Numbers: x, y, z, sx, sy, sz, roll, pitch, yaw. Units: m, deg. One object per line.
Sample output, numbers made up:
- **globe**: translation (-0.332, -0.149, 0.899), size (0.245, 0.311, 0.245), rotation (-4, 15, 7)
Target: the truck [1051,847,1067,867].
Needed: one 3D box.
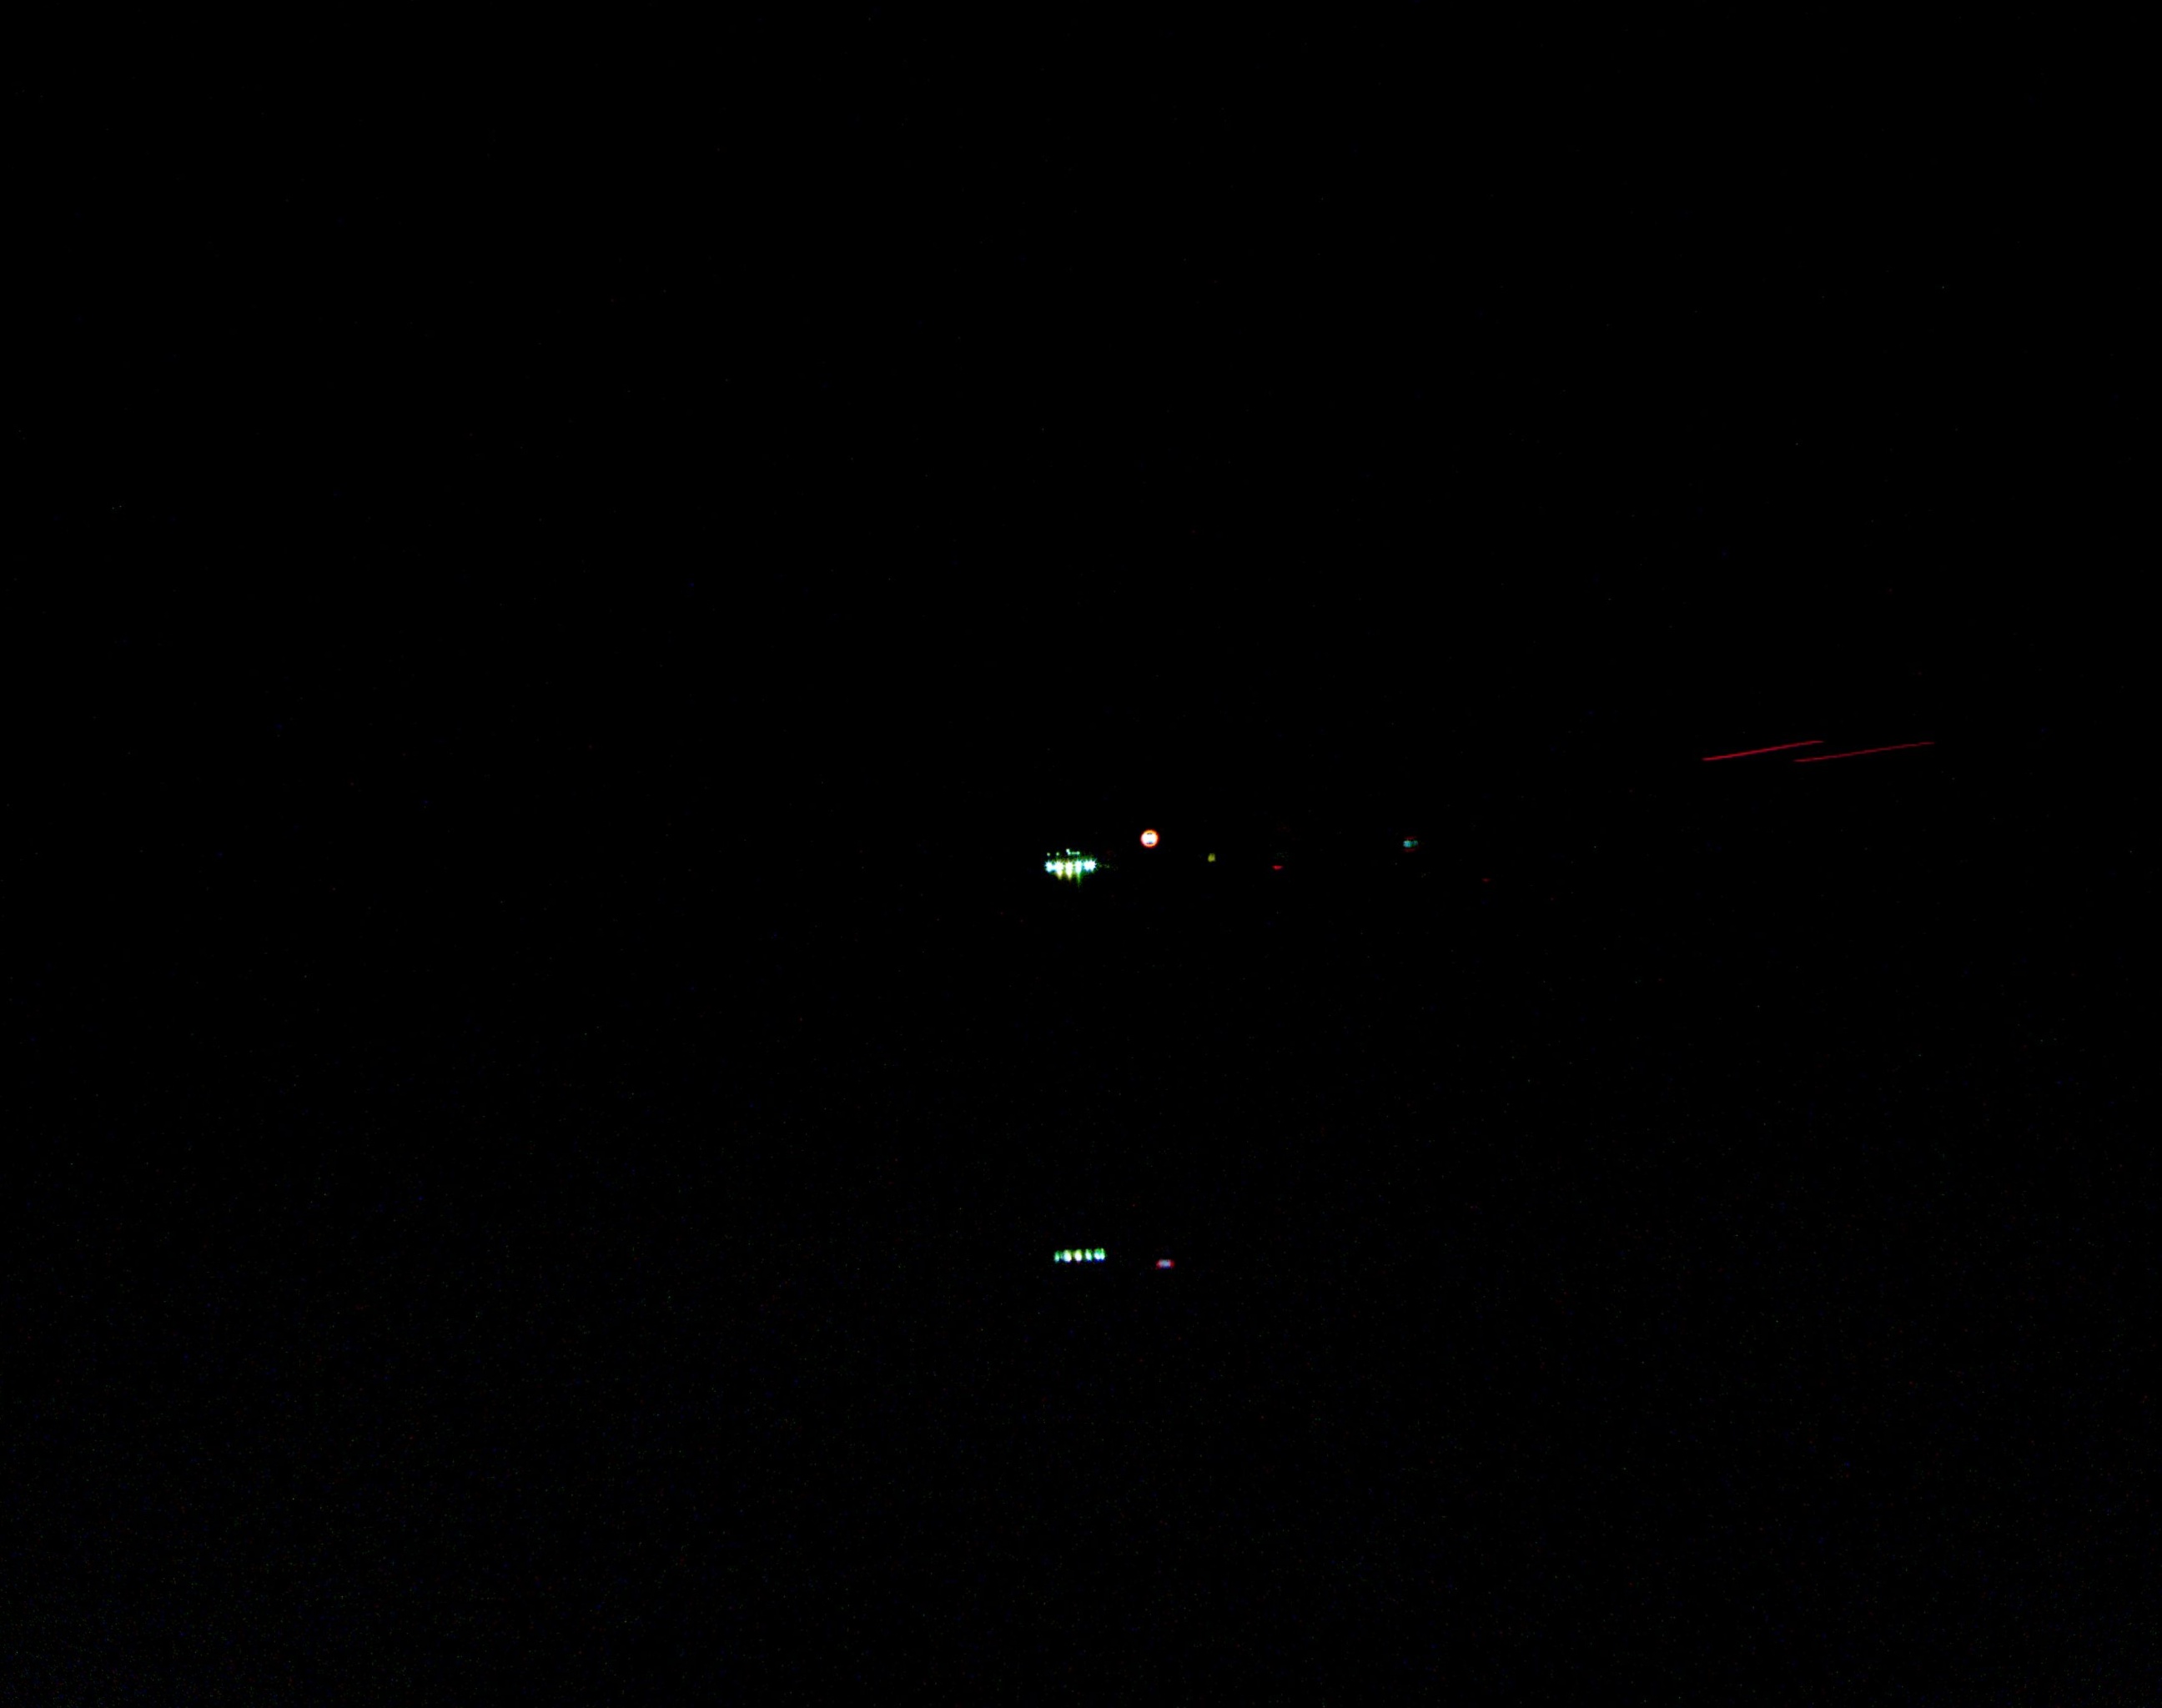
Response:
- **truck**: translation (-4.783, 0.756, 165.682), size (2.597, 4.047, 7.676), rotation (-3, -1, 2)

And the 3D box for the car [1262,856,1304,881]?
- **car**: translation (15.473, 1.131, 58.448), size (1.904, 1.750, 4.500), rotation (-3, -1, -1)

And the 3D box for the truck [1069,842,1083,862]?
- **truck**: translation (-1.092, -0.336, 165.368), size (2.668, 4.181, 6.725), rotation (-3, -1, 2)

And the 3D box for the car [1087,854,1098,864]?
- **car**: translation (3.578, 1.668, 232.643), size (2.859, 2.795, 5.943), rotation (-3, -1, 2)

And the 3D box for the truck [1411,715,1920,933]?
- **truck**: translation (16.141, -0.453, 24.810), size (3.255, 4.461, 17.442), rotation (-3, -1, 1)

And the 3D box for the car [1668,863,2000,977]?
- **car**: translation (12.438, 0.999, 12.986), size (1.638, 1.578, 4.001), rotation (-3, -1, 0)

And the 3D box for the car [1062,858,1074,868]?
- **car**: translation (-1.920, 1.341, 112.212), size (1.701, 1.378, 3.502), rotation (-3, -1, 1)

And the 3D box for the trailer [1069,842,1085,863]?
- **trailer**: translation (-0.820, -0.264, 171.871), size (2.749, 4.181, 13.515), rotation (-3, -1, 2)

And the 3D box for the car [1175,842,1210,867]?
- **car**: translation (9.841, 0.100, 67.609), size (2.214, 2.001, 6.945), rotation (-3, -1, 1)
